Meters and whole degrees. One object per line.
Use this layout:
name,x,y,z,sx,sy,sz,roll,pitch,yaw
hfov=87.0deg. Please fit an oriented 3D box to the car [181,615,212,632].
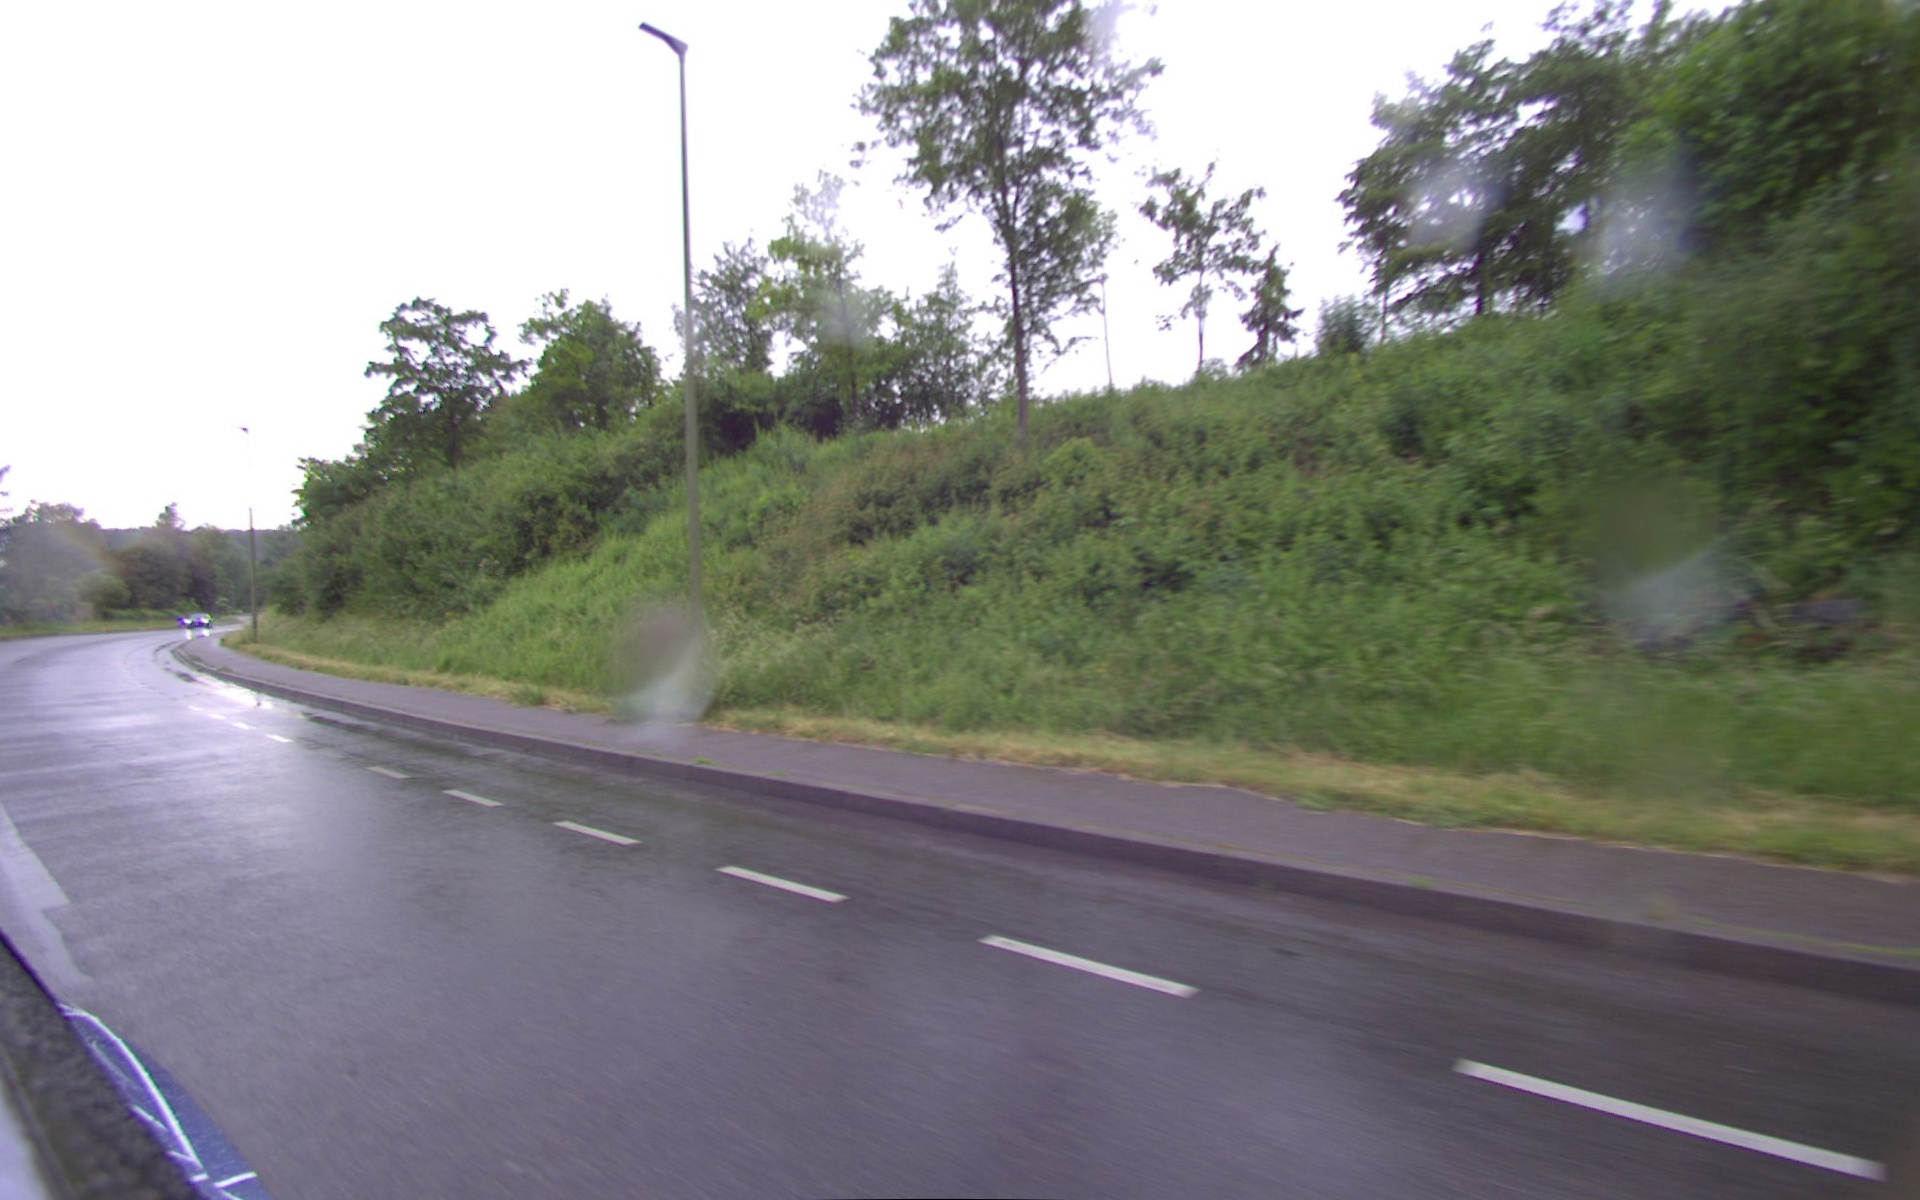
car,-74.664,2.266,99.009,1.848,1.618,4.012,1,-1,-29
